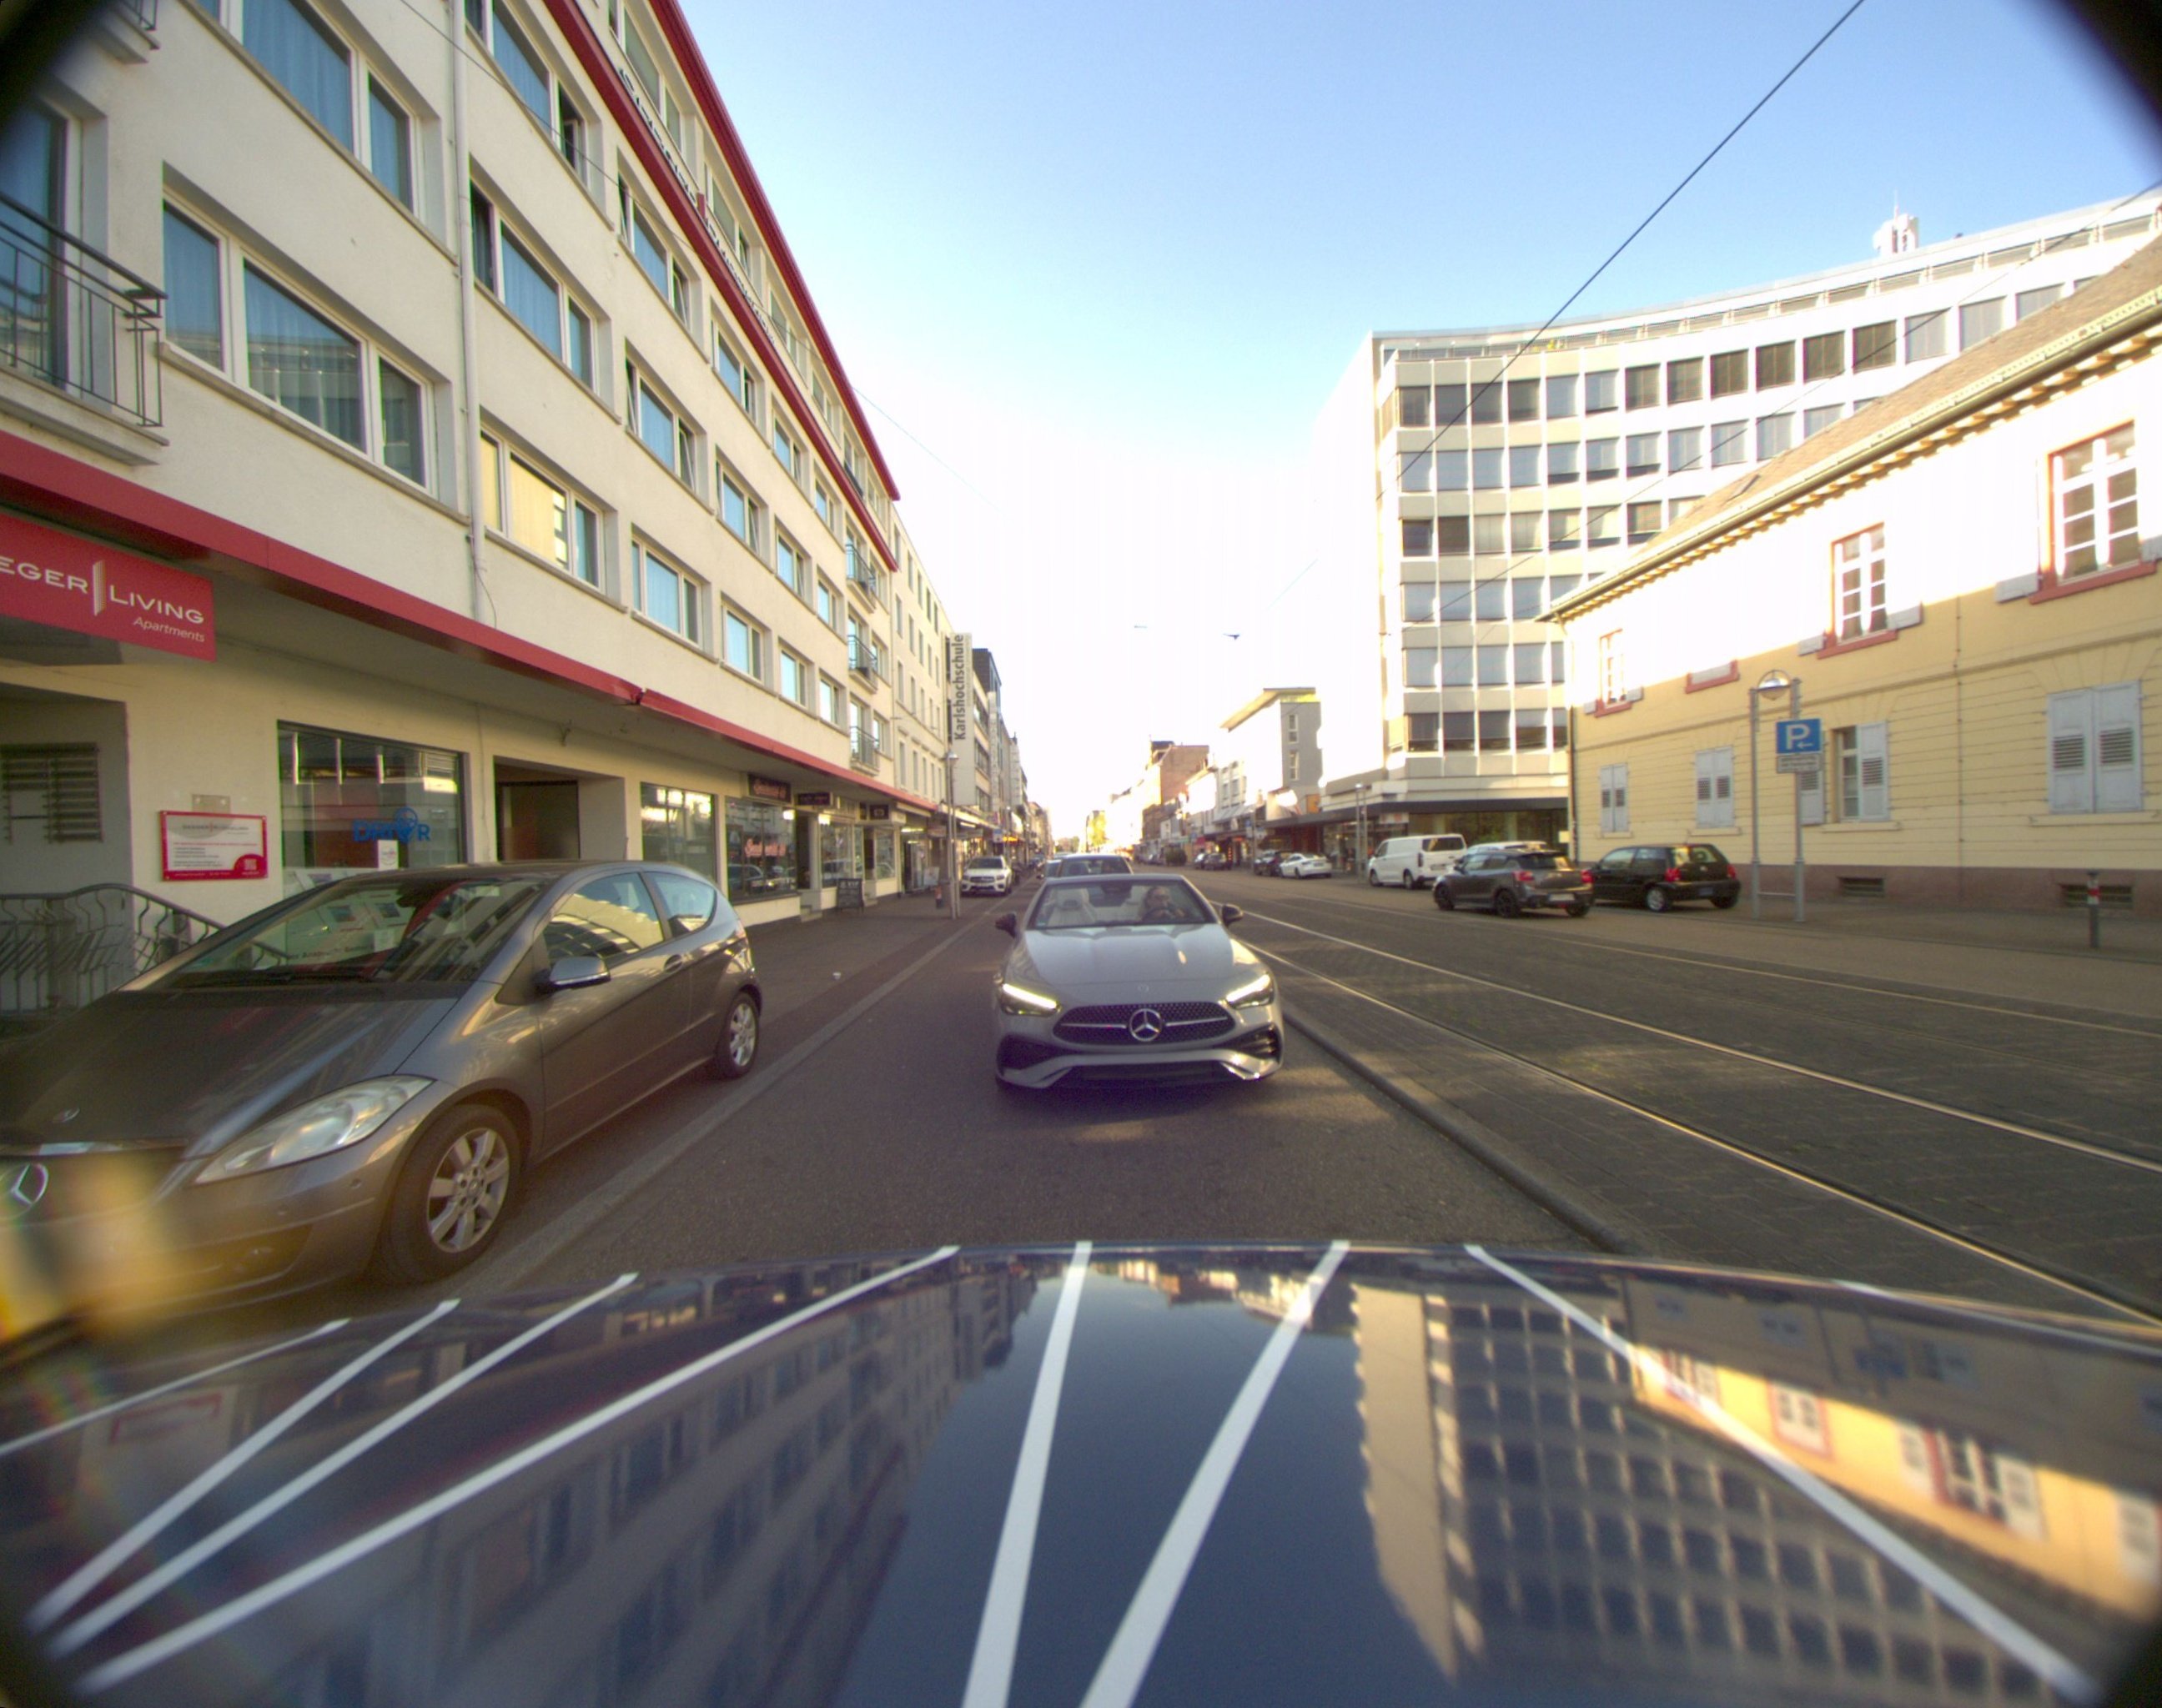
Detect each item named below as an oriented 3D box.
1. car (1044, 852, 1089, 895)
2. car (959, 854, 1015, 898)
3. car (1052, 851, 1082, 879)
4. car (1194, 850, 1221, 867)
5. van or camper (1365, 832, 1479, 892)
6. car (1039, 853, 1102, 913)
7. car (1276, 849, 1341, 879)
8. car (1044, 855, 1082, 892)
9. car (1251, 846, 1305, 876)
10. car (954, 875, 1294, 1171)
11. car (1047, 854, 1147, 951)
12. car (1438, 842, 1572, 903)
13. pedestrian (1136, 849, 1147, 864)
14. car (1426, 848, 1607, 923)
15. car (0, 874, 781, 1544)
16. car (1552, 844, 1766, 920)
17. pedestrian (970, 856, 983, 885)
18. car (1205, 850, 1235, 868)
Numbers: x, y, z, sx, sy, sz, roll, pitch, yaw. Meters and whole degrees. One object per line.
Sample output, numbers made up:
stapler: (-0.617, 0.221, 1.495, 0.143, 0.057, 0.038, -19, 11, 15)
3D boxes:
car: (-0.580, 0.756, 31.987, 1.737, 1.654, 3.960, 0, 1, 0)
car: (-3.799, 0.842, 31.393, 1.783, 1.654, 4.162, 0, 1, 0)
car: (-0.851, 0.639, 46.553, 1.737, 1.654, 3.960, 0, 1, 0)
car: (11.832, 0.397, 71.081, 1.786, 1.511, 3.832, -2, 1, -1)
van or camper: (12.748, 0.247, 28.802, 1.960, 1.962, 4.796, -3, 1, -2)
car: (-0.314, 0.832, 23.710, 1.783, 1.654, 3.960, 0, 1, 0)
car: (12.532, 0.502, 42.158, 1.931, 1.444, 4.291, -4, 1, -5)
car: (-0.847, 0.925, 37.461, 1.737, 1.654, 3.781, 0, 1, 0)
car: (12.259, 0.393, 47.535, 1.931, 1.632, 4.280, -4, 1, -3)
car: (0.228, 0.999, 6.576, 1.869, 1.431, 4.773, 0, 1, 0)
car: (0.275, 0.854, 15.355, 1.737, 1.654, 3.960, 0, 1, 0)
car: (12.763, 0.484, 23.214, 1.781, 1.611, 4.175, -3, 1, 2)
pedestrian: (7.532, 0.273, 94.526, 1.008, 1.811, 1.034, -2, 1, 19)
car: (9.629, 0.629, 17.183, 1.781, 1.500, 3.859, -1, 0, -2)
car: (-3.217, 0.961, 3.896, 1.781, 1.560, 3.960, 0, 1, 0)
car: (12.847, 0.540, 17.241, 1.781, 1.431, 3.960, -3, 1, 0)
pedestrian: (-6.756, 1.034, 48.986, 0.706, 1.807, 0.807, -2, 1, -3)
car: (11.959, 0.388, 65.476, 1.786, 1.408, 3.596, -2, 1, -2)
